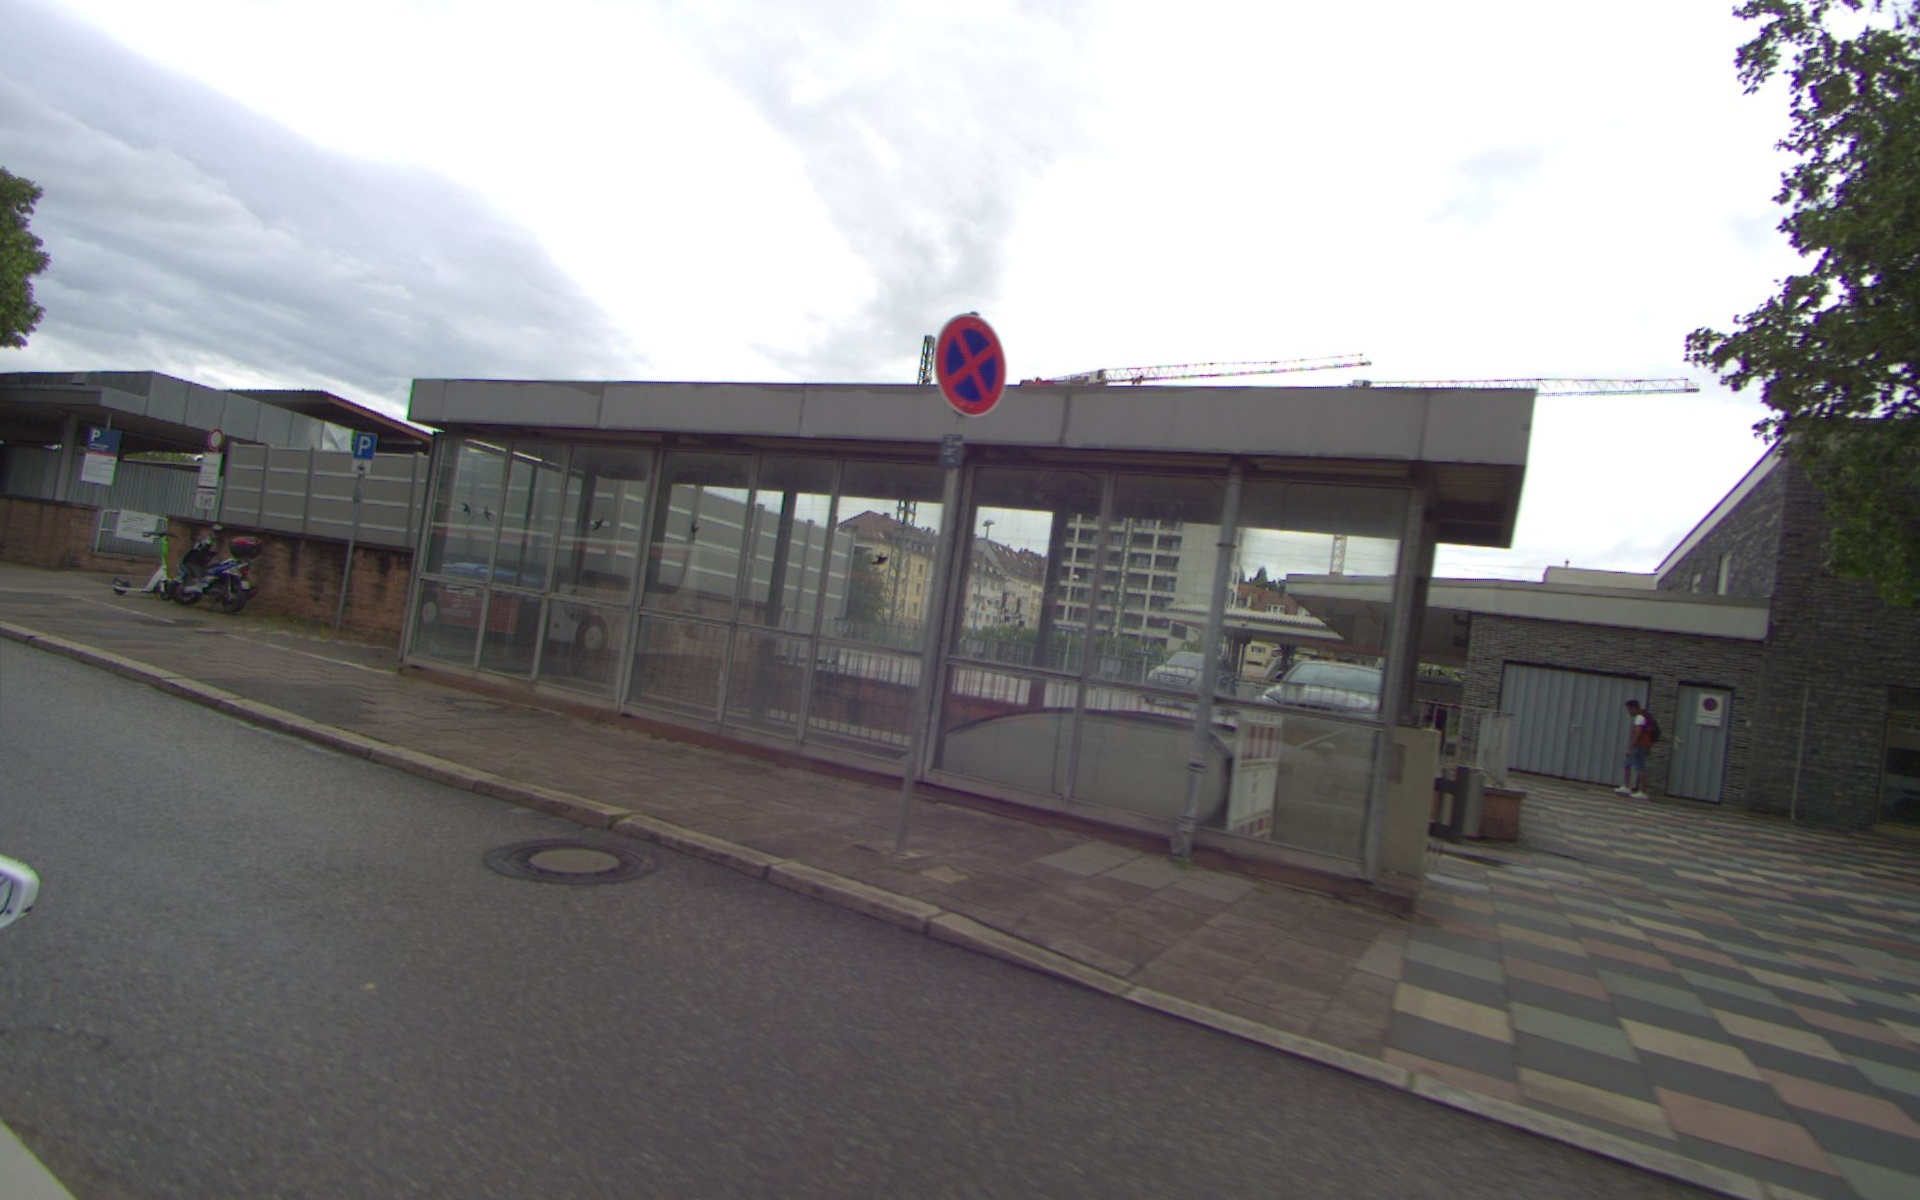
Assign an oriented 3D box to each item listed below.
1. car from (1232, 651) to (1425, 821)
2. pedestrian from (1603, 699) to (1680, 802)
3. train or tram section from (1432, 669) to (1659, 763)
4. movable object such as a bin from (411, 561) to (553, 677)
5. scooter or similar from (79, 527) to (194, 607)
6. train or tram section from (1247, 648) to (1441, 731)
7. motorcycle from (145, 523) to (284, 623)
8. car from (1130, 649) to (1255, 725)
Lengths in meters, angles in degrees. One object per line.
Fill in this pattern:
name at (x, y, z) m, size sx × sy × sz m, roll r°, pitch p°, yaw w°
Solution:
car at (5.785, 1.956, 15.359) m, size 2.072 × 1.896 × 4.698 m, roll 7°, pitch -2°, yaw 27°
pedestrian at (12.956, 2.833, 19.156) m, size 0.981 × 1.768 × 0.878 m, roll 7°, pitch -1°, yaw 31°
train or tram section at (33.189, 6.534, 57.703) m, size 10.739 × 3.645 × 2.747 m, roll 6°, pitch -1°, yaw 27°
movable object such as a bin at (-6.417, 0.261, 13.524) m, size 1.295 × 1.354 × 1.036 m, roll 7°, pitch -1°, yaw 29°
scooter or similar at (-14.385, -0.573, 17.583) m, size 1.682 × 1.166 × 0.495 m, roll 7°, pitch -1°, yaw 11°
train or tram section at (23.790, 5.492, 62.671) m, size 10.741 × 3.645 × 2.747 m, roll 6°, pitch -1°, yaw 28°
motorcycle at (-12.405, -0.457, 16.708) m, size 2.415 × 1.363 × 0.793 m, roll 7°, pitch -1°, yaw 29°
car at (7.198, 2.702, 30.787) m, size 2.075 × 1.896 × 4.691 m, roll 7°, pitch -2°, yaw 33°
